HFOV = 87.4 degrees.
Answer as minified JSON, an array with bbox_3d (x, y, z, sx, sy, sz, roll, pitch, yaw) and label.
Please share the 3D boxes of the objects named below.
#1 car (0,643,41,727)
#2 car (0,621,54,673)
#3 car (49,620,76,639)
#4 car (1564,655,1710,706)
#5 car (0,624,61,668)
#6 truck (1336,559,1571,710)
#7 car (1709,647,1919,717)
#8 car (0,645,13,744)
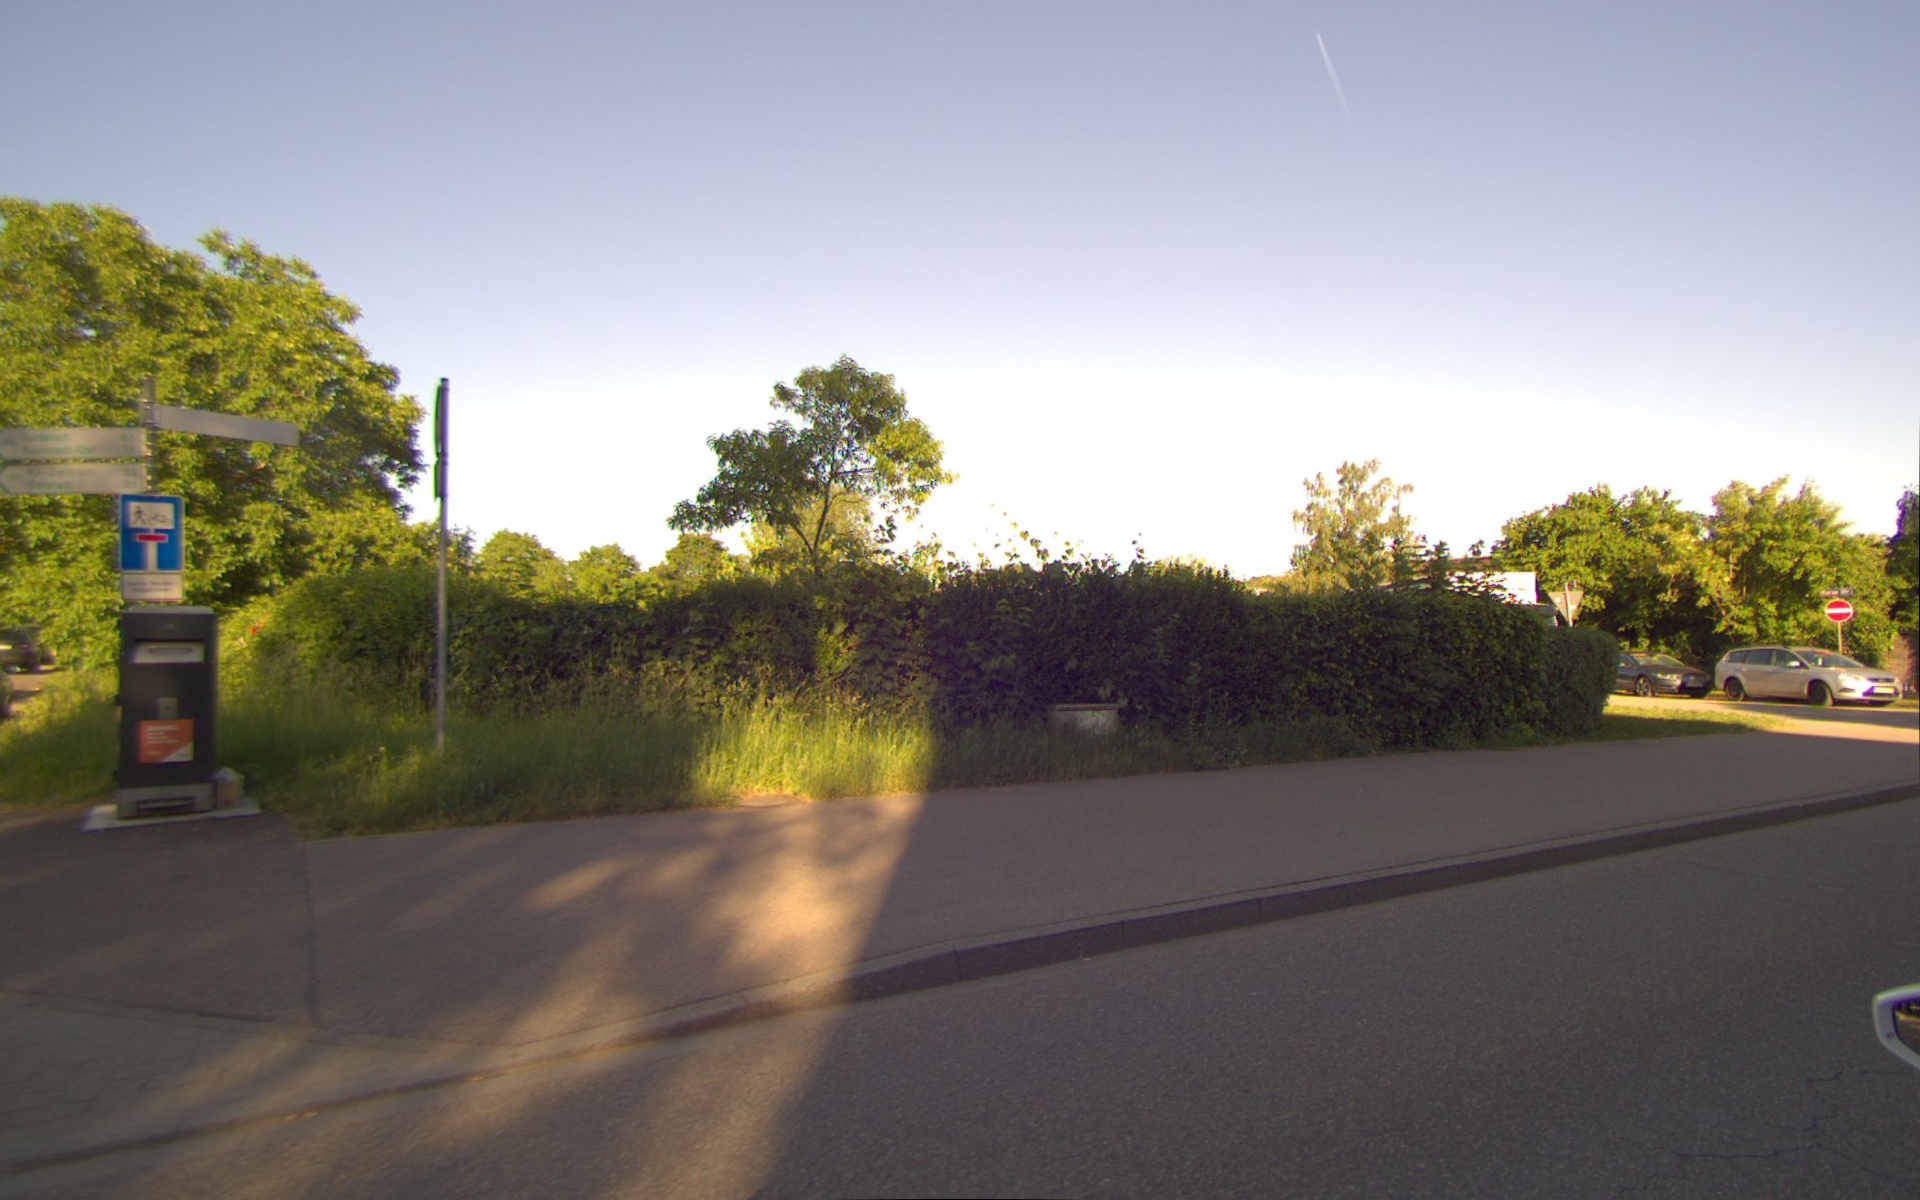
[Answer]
[{"bbox_3d":[-18.870,1.549,19.139,1.875,1.466,3.988,5,-5,-42],"label":"car"},{"bbox_3d":[-33.848,1.665,36.029,1.875,1.768,3.988,5,-5,-42],"label":"car"},{"bbox_3d":[-88.501,2.884,99.059,1.875,1.768,3.988,5,-5,-42],"label":"car"},{"bbox_3d":[21.186,2.499,31.661,1.612,1.454,4.206,2,-4,-3],"label":"car"},{"bbox_3d":[-40.312,1.977,43.563,1.875,1.768,3.988,5,-5,-42],"label":"car"},{"bbox_3d":[14.878,1.111,31.363,2.658,3.934,9.337,2,-3,0],"label":"truck"},{"bbox_3d":[22.070,2.064,26.167,1.840,1.510,4.223,2,-1,-3],"label":"car"},{"bbox_3d":[-14.858,1.355,14.239,1.875,1.466,3.988,5,-5,-42],"label":"car"}]
